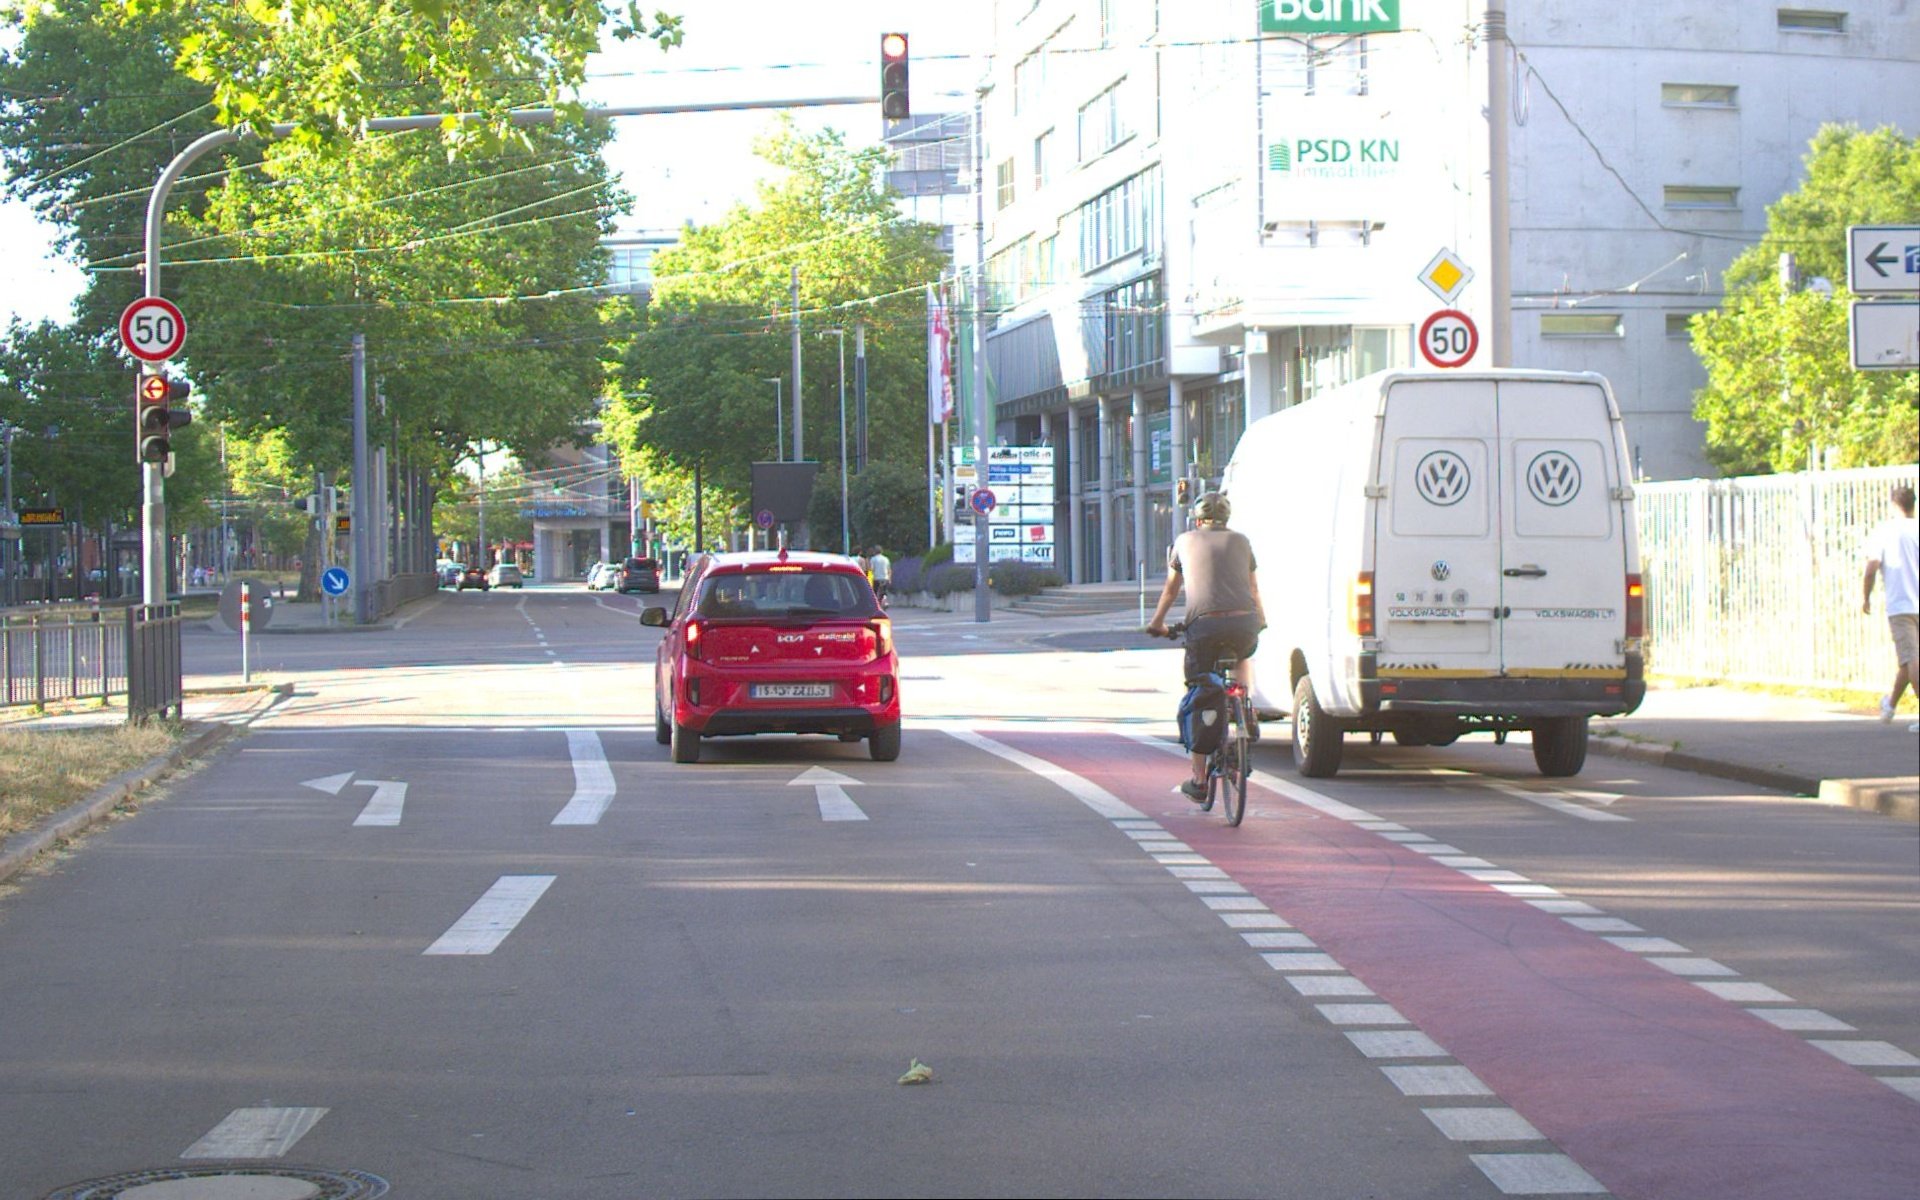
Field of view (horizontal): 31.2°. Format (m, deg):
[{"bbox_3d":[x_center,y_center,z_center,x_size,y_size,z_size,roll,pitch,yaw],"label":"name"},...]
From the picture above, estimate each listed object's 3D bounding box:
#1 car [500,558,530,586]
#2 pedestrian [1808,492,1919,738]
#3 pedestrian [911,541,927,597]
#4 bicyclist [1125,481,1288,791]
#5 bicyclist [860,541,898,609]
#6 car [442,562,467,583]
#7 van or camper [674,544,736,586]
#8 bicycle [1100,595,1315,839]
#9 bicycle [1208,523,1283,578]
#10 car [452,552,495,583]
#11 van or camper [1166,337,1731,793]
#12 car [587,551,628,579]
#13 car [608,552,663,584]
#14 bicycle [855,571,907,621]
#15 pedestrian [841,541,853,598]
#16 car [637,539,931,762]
[{"bbox_3d":[-27.279,-1.725,210.638,1.657,1.601,3.532,-2,1,-9],"label":"car"},{"bbox_3d":[6.749,0.098,24.968,0.786,1.742,0.772,-2,1,-29],"label":"pedestrian"},{"bbox_3d":[-1.142,-0.858,95.060,0.314,1.556,0.294,-1,1,25],"label":"pedestrian"},{"bbox_3d":[1.347,0.189,18.889,0.743,1.663,0.745,1,1,-7],"label":"bicyclist"},{"bbox_3d":[-1.965,-0.613,83.209,0.785,1.629,0.639,-1,1,-11],"label":"bicyclist"},{"bbox_3d":[-33.719,-1.847,229.200,1.574,1.302,3.340,-2,1,-9],"label":"car"},{"bbox_3d":[-11.190,-1.556,150.475,2.145,1.744,4.433,-2,1,-11],"label":"van or camper"},{"bbox_3d":[1.329,0.608,18.912,0.743,1.220,2.156,1,1,-8],"label":"bicycle"},{"bbox_3d":[7.810,-1.363,94.149,1.934,1.438,0.575,-2,1,-9],"label":"bicycle"},{"bbox_3d":[-27.236,-1.810,192.436,2.057,1.648,3.493,-2,1,-13],"label":"car"},{"bbox_3d":[3.173,-0.257,24.083,2.268,2.724,6.348,1,1,-7],"label":"van or camper"},{"bbox_3d":[-20.202,-1.989,196.782,1.884,1.523,4.433,-2,1,-11],"label":"car"},{"bbox_3d":[-16.730,-1.652,177.226,2.478,1.523,4.433,-2,1,-10],"label":"car"},{"bbox_3d":[-1.926,-0.108,83.045,0.792,1.157,2.500,-1,1,-12],"label":"bicycle"},{"bbox_3d":[-3.144,-0.850,95.502,0.294,1.556,0.302,-1,1,-3],"label":"pedestrian"},{"bbox_3d":[-1.373,0.312,25.395,1.839,1.484,3.717,-1,1,-8],"label":"car"}]
